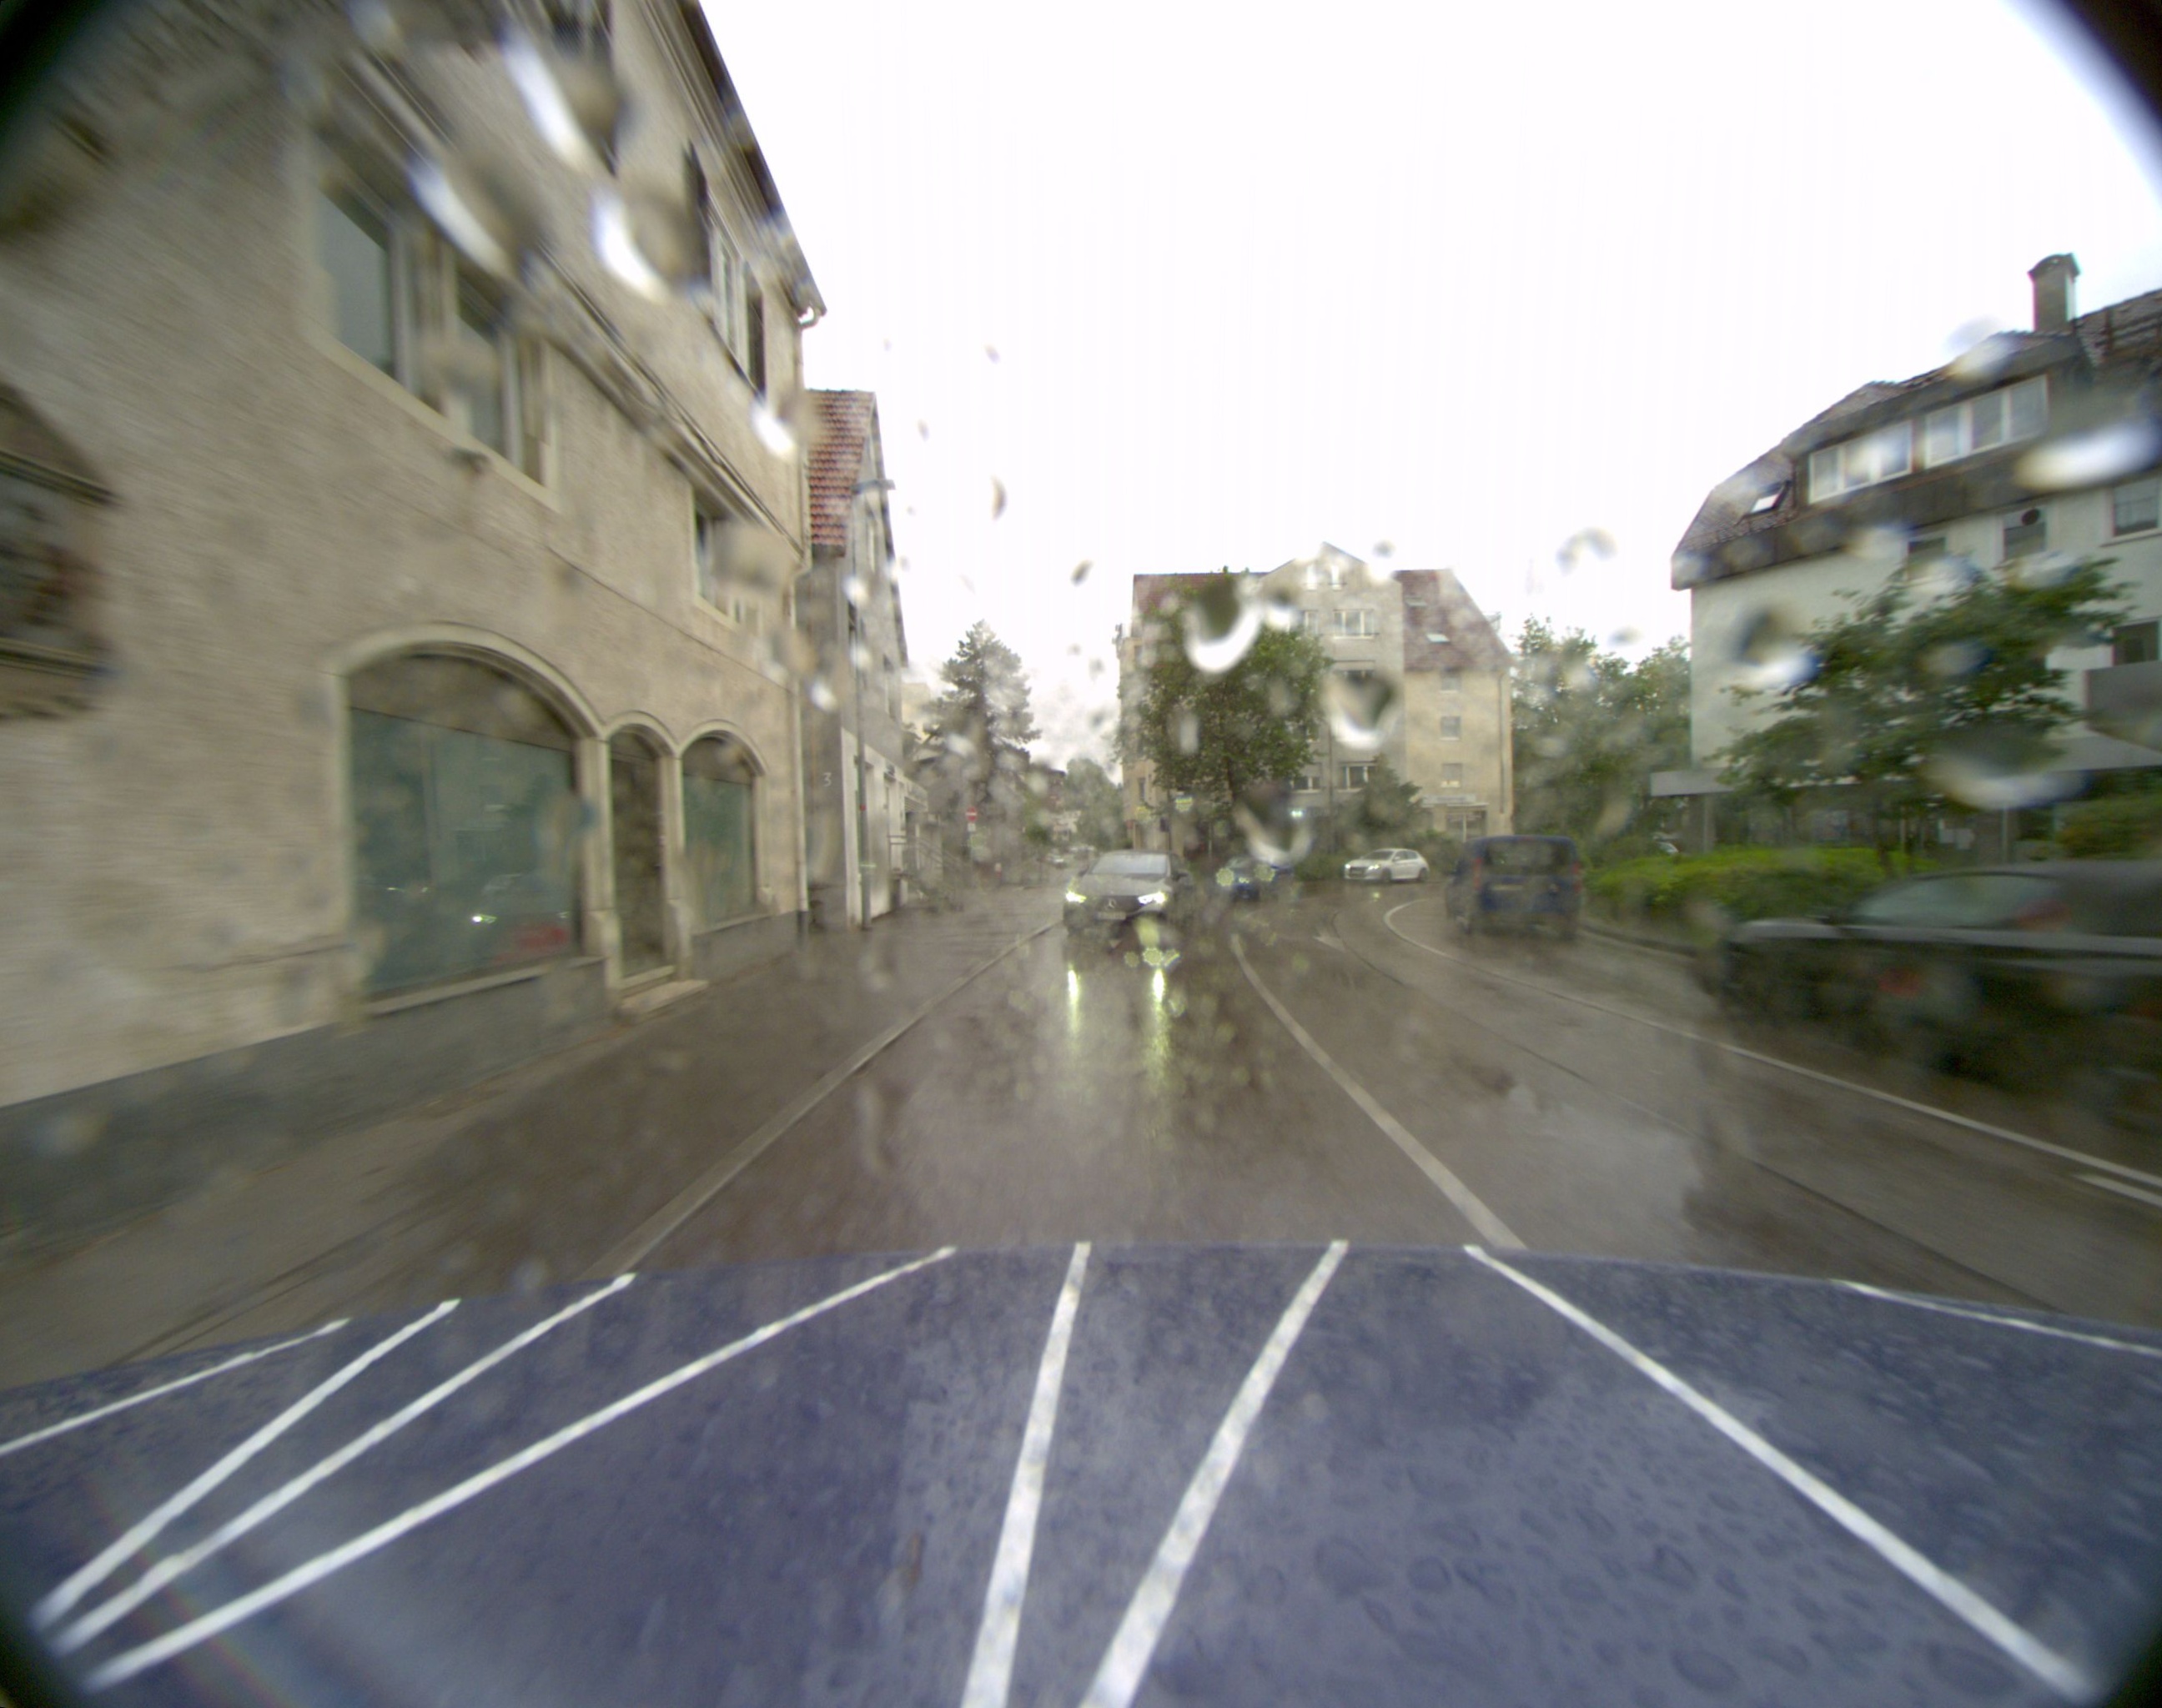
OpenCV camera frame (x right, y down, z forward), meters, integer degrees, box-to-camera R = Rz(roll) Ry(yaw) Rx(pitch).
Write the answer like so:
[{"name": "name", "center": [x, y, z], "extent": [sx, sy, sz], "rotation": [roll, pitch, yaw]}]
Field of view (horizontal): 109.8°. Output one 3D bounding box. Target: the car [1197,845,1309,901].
[{"name": "car", "center": [5.490, 0.675, 23.838], "extent": [1.770, 1.522, 4.389], "rotation": [-5, -5, 35]}]

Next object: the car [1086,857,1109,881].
[{"name": "car", "center": [1.658, 1.519, 78.816], "extent": [1.999, 1.566, 3.996], "rotation": [-14, 5, 1]}]

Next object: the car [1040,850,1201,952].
[{"name": "car", "center": [0.907, 0.707, 13.713], "extent": [1.996, 1.484, 4.318], "rotation": [-1, 1, 15]}]

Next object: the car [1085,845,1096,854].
[{"name": "car", "center": [1.741, -0.884, 140.695], "extent": [1.998, 1.564, 4.001], "rotation": [-1, -1, 3]}]

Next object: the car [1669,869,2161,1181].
[{"name": "car", "center": [6.207, 0.857, 4.823], "extent": [1.865, 1.379, 4.264], "rotation": [-1, 0, 4]}]

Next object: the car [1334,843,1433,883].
[{"name": "car", "center": [12.738, 0.337, 31.976], "extent": [4.006, 1.556, 1.810], "rotation": [-1, 2, -31]}]

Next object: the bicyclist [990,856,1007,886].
[{"name": "bicyclist", "center": [-4.202, 0.871, 38.725], "extent": [0.686, 1.509, 1.029], "rotation": [-1, 0, -14]}]

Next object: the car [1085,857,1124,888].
[{"name": "car", "center": [1.282, 1.100, 43.661], "extent": [1.999, 1.640, 4.001], "rotation": [1, -2, -1]}]

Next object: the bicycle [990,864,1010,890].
[{"name": "bicycle", "center": [-4.147, 1.209, 38.887], "extent": [0.764, 1.027, 2.082], "rotation": [-1, -10, -12]}]

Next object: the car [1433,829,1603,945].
[{"name": "car", "center": [8.338, 0.527, 14.966], "extent": [1.995, 1.871, 4.384], "rotation": [3, 1, 18]}]
